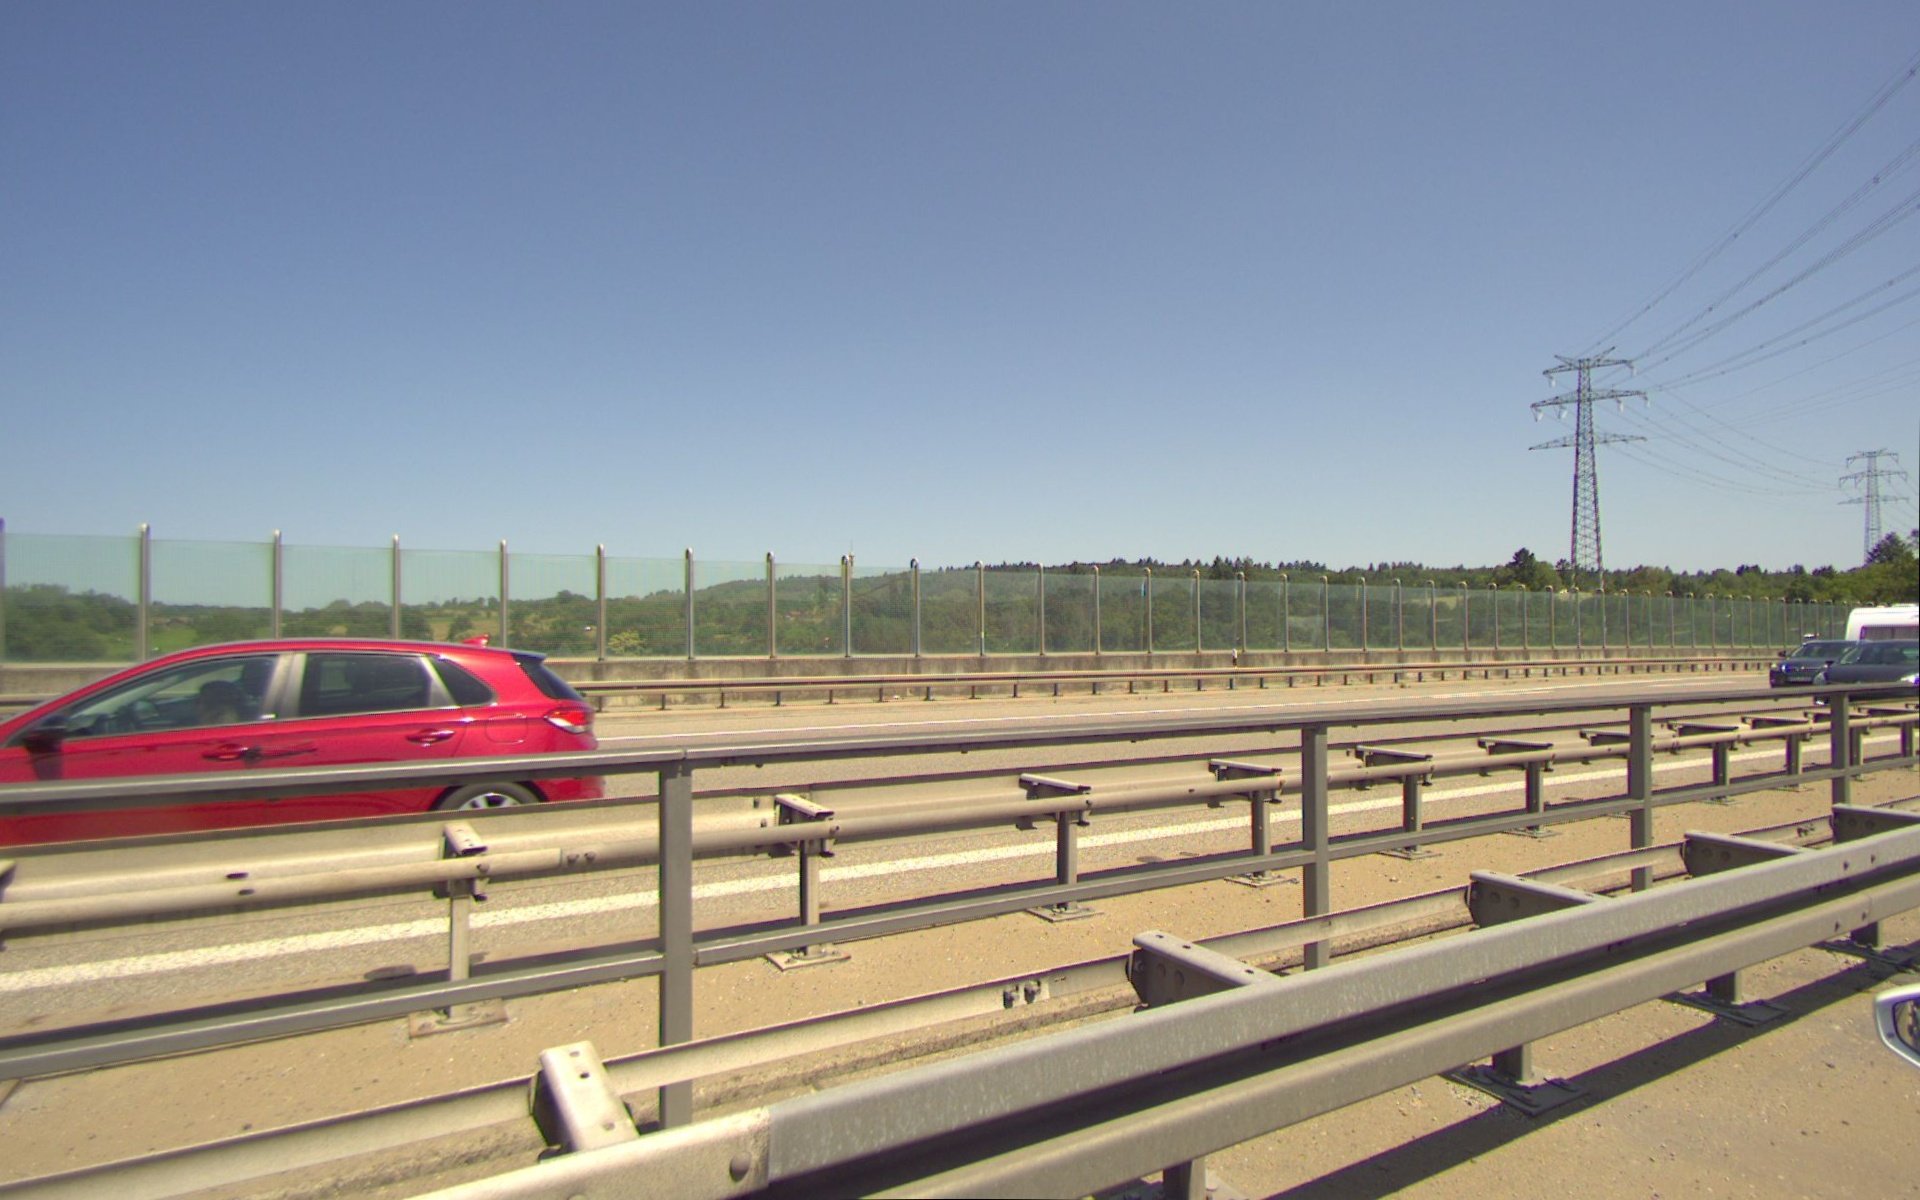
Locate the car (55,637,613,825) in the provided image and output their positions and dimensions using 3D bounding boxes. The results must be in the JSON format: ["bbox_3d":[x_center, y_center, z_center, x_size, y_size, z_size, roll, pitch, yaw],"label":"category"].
[{"bbox_3d":[-5.899,1.138,10.040,4.368,1.511,1.721,1,-3,-31],"label":"car"}]

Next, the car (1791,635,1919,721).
[{"bbox_3d":[17.583,1.411,18.870,3.951,1.467,1.662,1,-4,-29],"label":"car"}]

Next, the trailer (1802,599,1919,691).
[{"bbox_3d":[28.899,1.366,30.881,6.694,2.582,2.482,1,-3,-30],"label":"trailer"}]

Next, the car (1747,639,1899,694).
[{"bbox_3d":[24.023,1.802,27.918,4.627,1.426,1.767,1,-3,-30],"label":"car"}]

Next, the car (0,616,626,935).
[{"bbox_3d":[-4.205,0.918,5.984,3.941,1.496,1.784,1,-6,-30],"label":"car"}]
